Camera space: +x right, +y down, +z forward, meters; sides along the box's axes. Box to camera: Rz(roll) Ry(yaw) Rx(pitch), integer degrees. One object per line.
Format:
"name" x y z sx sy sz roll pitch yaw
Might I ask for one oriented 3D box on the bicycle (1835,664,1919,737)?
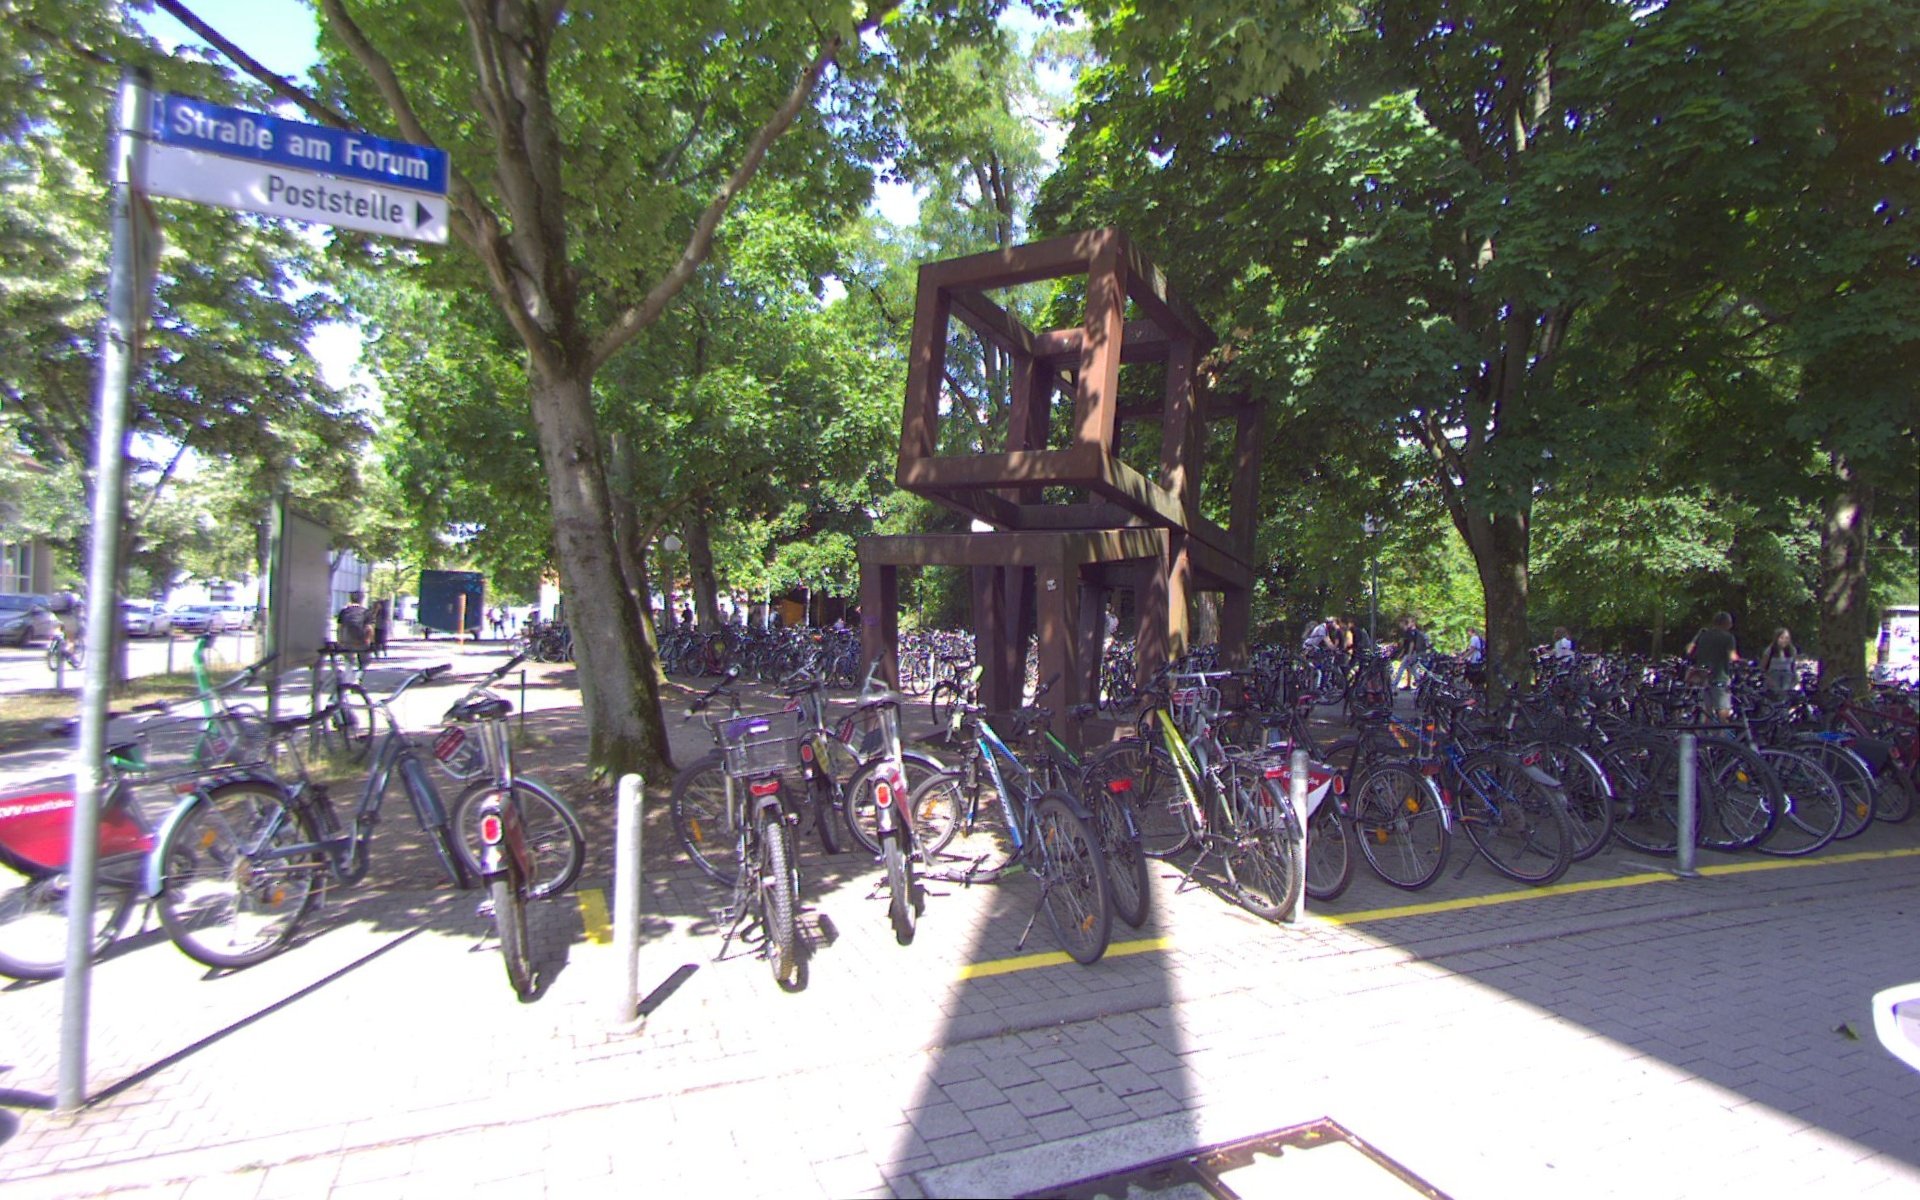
"bicycle" 15.595 1.668 16.941 0.464 1.098 1.701 3 -1 12

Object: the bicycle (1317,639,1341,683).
"bicycle" 10.155 1.649 27.678 0.507 1.125 1.778 2 -1 18

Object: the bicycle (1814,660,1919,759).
"bicycle" 12.679 1.481 13.539 0.498 1.236 1.683 3 -1 -35

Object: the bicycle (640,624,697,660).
"bicycle" -9.460 1.362 32.666 0.466 1.098 1.854 2 -1 34

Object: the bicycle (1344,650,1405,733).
"bicycle" 6.301 1.362 15.333 0.619 1.122 1.700 2 -1 16

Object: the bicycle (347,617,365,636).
"bicycle" -36.329 1.597 60.383 1.676 1.098 0.471 2 -1 44

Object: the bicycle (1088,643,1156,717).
"bicycle" 2.719 1.299 16.731 0.493 1.122 1.904 2 -1 28

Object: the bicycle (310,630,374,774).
"bicycle" -5.613 0.873 9.169 0.388 1.122 1.824 3 -1 -30

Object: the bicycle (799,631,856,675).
"bicycle" -3.479 1.380 26.558 0.465 1.098 1.856 2 -1 28

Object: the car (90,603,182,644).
"car" -33.442 0.929 40.897 1.814 1.561 4.509 2 -1 -26

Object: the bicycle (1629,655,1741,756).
"bicycle" 9.944 1.406 13.845 0.564 1.215 1.701 3 -1 12

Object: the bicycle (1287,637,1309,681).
"bicycle" 9.380 1.623 27.929 0.507 1.125 1.778 2 -1 18

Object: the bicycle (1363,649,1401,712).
"bicycle" 8.091 1.515 19.229 0.465 1.098 1.697 2 -1 28

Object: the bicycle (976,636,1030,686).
"bicycle" 1.027 1.398 23.366 0.465 1.098 1.856 2 -1 28

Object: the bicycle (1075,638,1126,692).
"bicycle" 3.072 1.389 21.835 0.465 1.098 1.856 2 -1 28

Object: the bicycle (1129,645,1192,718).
"bicycle" 3.359 1.325 16.743 0.493 1.122 1.777 2 -1 28

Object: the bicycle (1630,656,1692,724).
"bicycle" 12.504 1.579 17.959 0.465 1.098 1.700 2 -1 20

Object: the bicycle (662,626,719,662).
"bicycle" -8.530 1.406 31.911 0.466 1.098 1.854 2 -1 34

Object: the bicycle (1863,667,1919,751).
"bicycle" 13.666 1.543 13.882 0.498 1.122 1.683 3 -1 -35

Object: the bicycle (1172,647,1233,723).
"bicycle" 3.971 1.351 16.381 0.493 1.122 1.777 2 -1 28

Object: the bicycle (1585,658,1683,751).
"bicycle" 9.357 1.415 14.008 0.492 1.122 1.701 3 -1 12

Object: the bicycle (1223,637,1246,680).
"bicycle" 7.767 1.637 28.359 0.507 1.125 1.778 2 -1 18

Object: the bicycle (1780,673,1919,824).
"bicycle" 7.843 1.234 8.363 0.488 1.122 1.627 3 -1 -10

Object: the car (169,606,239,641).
"car" -36.715 1.130 48.870 1.814 1.561 4.509 2 -1 -26

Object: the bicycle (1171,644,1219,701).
"bicycle" 4.862 1.468 20.741 0.465 1.098 1.856 2 -1 28

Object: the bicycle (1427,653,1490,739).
"bicycle" 7.341 1.377 14.855 0.493 1.122 1.700 2 -1 16

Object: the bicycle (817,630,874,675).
"bicycle" -2.964 1.349 26.154 0.465 1.098 1.856 2 -1 28

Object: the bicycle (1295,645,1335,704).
"bicycle" 7.181 1.475 20.278 0.465 1.098 1.697 2 -1 28

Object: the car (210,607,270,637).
"car" -38.956 1.168 54.440 1.814 1.561 4.509 2 -1 -26

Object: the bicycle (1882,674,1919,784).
"bicycle" 10.657 1.390 10.313 1.716 1.122 0.494 2 -1 43

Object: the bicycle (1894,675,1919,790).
"bicycle" 10.234 1.364 9.676 0.491 1.141 1.728 3 -1 -28

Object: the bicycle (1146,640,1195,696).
"bicycle" 4.448 1.414 21.126 0.465 1.098 1.856 2 -1 28

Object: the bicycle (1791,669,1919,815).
"bicycle" 8.308 1.244 8.805 0.488 1.159 1.627 3 -1 -10

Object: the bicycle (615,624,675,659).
"bicycle" -10.420 1.388 33.266 1.845 1.098 0.468 3 -1 -41

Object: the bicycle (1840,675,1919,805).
"bicycle" 8.947 1.296 8.946 0.564 1.122 1.739 3 -1 -5

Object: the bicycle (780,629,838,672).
"bicycle" -4.003 1.329 26.730 0.465 1.098 1.856 2 -1 28

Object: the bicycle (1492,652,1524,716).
"bicycle" 10.221 1.545 18.767 0.465 1.098 1.697 2 -1 28

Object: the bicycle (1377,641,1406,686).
"bicycle" 11.666 1.699 27.169 0.507 1.125 1.778 2 -1 18

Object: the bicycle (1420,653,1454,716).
"bicycle" 9.057 1.576 19.049 0.465 1.098 1.697 2 -1 28

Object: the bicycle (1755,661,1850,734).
"bicycle" 14.508 1.655 17.343 0.464 1.098 1.701 3 -1 12

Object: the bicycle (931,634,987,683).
"bicycle" 0.003 1.362 23.780 0.465 1.098 1.856 2 -1 28

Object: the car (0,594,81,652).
"car" -28.839 0.676 30.665 1.814 1.655 4.509 2 -1 -26

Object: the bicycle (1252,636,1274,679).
"bicycle" 8.493 1.590 28.140 0.507 1.125 1.778 2 -1 18

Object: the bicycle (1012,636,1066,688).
"bicycle" 1.811 1.385 22.775 0.465 1.098 1.856 2 -1 28

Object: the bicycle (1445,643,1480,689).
"bicycle" 13.289 1.735 26.610 0.507 1.125 1.778 2 -1 18

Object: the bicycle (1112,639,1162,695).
"bicycle" 3.777 1.397 21.349 0.465 1.098 1.856 2 -1 28

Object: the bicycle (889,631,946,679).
"bicycle" -1.010 1.326 24.408 0.465 1.098 1.856 2 -1 28

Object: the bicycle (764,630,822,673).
"bicycle" -4.487 1.371 27.083 0.465 1.098 1.856 2 -1 28

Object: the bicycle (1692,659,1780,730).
"bicycle" 13.420 1.606 17.422 0.464 1.098 1.701 3 -1 12

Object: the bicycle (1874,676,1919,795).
"bicycle" 9.715 1.333 9.339 0.490 1.122 1.730 3 -1 -23

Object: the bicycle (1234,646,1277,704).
"bicycle" 6.022 1.501 20.408 0.465 1.098 1.697 2 -1 28

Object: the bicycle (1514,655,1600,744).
"bicycle" 8.480 1.379 14.320 0.492 1.122 1.701 3 -1 12

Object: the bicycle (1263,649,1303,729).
"bicycle" 5.060 1.366 15.801 0.493 1.122 1.700 2 -1 16

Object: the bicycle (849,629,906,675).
"bicycle" -2.051 1.295 25.164 0.465 1.098 1.856 2 -1 28

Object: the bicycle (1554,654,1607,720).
"bicycle" 11.436 1.571 18.548 0.465 1.098 1.700 2 -1 20

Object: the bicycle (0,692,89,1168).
"bicycle" -3.342 0.855 2.301 1.855 1.187 0.803 0 -1 -16

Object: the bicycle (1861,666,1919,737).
"bicycle" 16.069 1.719 16.937 0.464 1.098 1.701 3 -1 12
